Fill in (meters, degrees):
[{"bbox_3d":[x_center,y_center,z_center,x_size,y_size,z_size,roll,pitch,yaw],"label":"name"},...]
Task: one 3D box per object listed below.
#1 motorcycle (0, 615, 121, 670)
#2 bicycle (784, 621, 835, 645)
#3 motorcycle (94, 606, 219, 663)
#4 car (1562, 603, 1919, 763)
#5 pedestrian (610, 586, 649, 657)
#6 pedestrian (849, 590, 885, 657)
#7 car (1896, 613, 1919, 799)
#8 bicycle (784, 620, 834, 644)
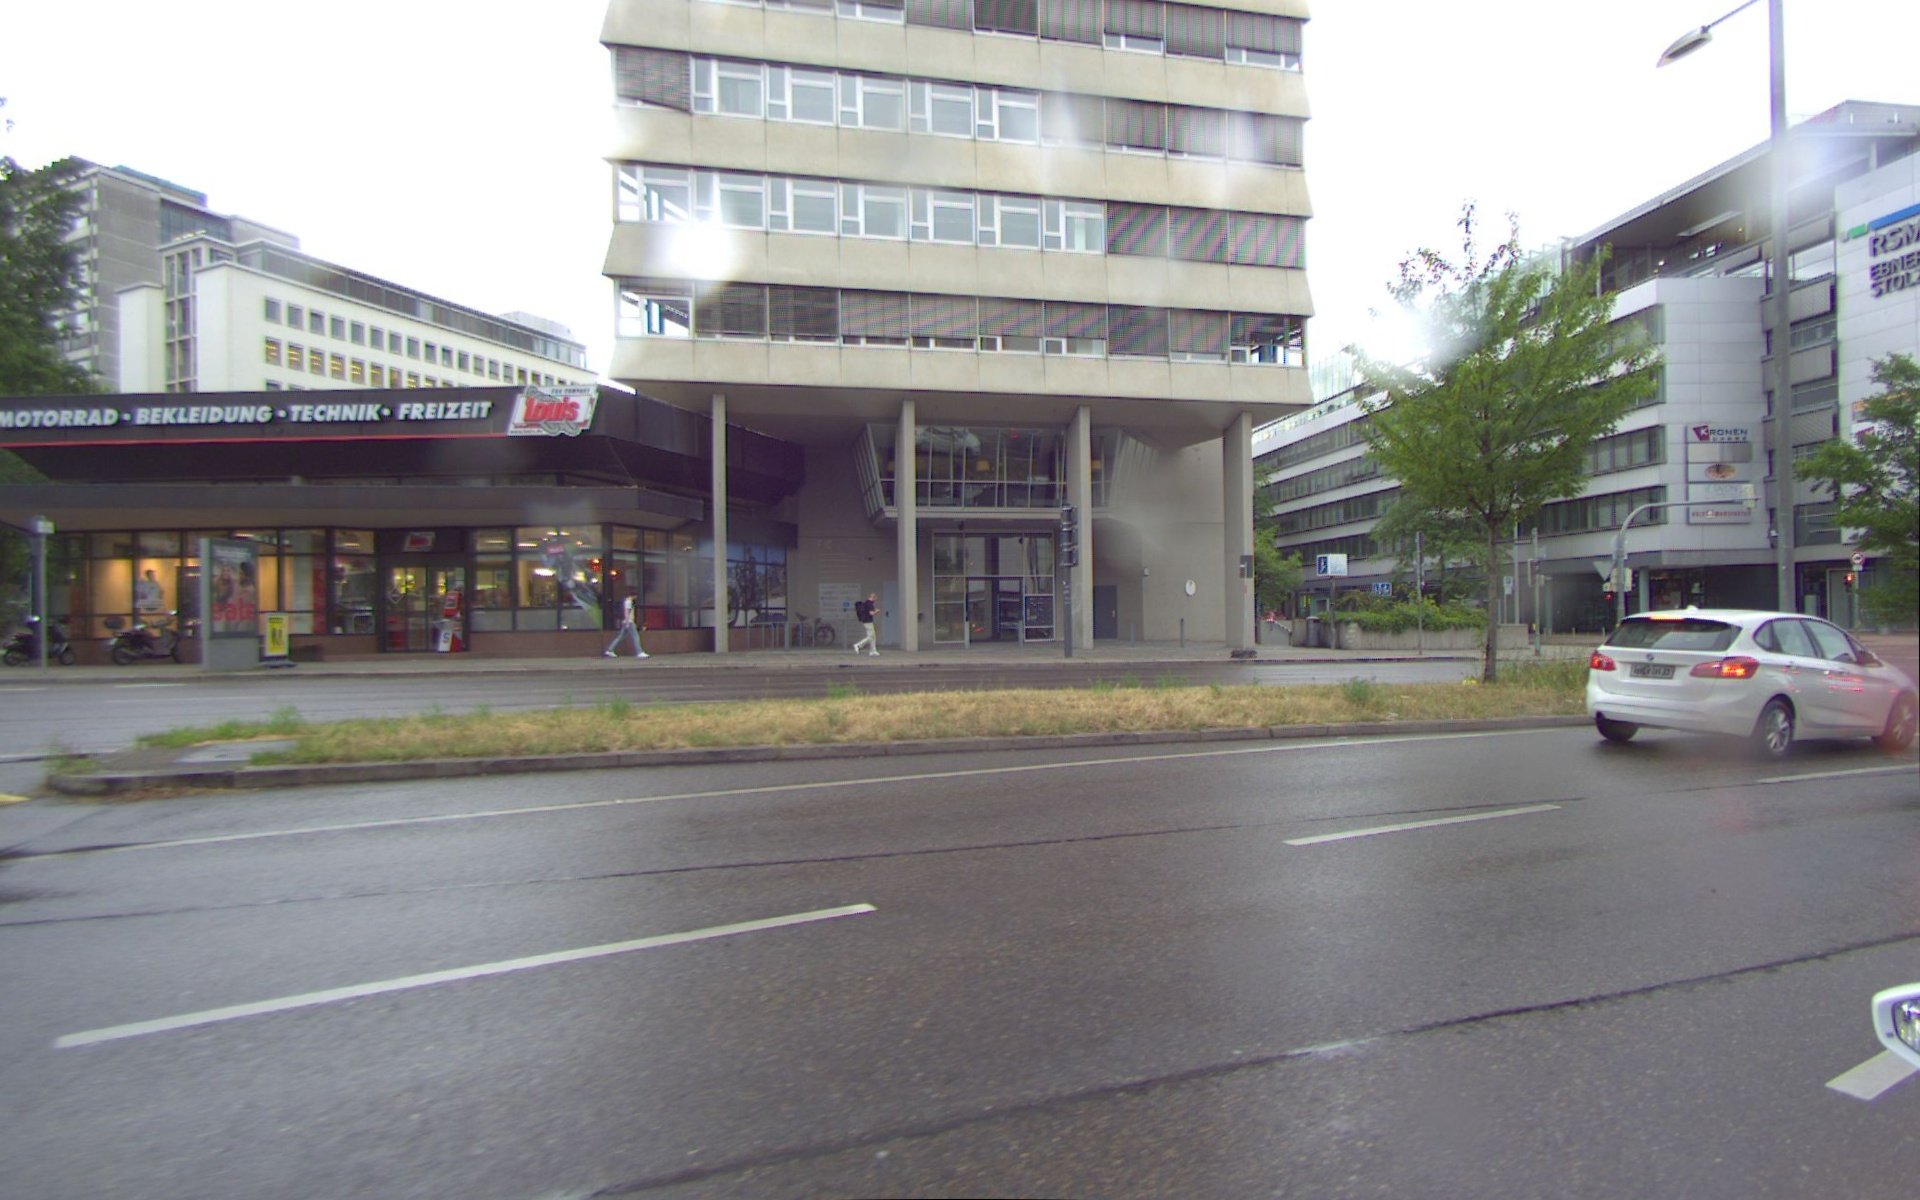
[{"bbox_3d":[-23.926,1.077,26.692,0.709,1.351,2.822,1,0,5],"label":"motorcycle"},{"bbox_3d":[-5.289,1.153,35.313,1.742,0.823,0.454,1,0,-11],"label":"bicycle"},{"bbox_3d":[-20.991,0.863,26.359,0.788,1.392,2.894,1,0,4],"label":"motorcycle"},{"bbox_3d":[9.259,0.862,11.734,4.229,1.594,1.778,1,-1,-25],"label":"car"},{"bbox_3d":[-8.807,0.581,26.781,0.909,1.857,0.818,0,0,-13],"label":"pedestrian"},{"bbox_3d":[-2.632,0.660,28.294,0.909,1.857,0.728,1,-1,-13],"label":"pedestrian"},{"bbox_3d":[9.940,0.869,8.257,4.134,1.505,1.679,1,-1,-21],"label":"car"},{"bbox_3d":[-5.392,1.155,35.895,1.742,0.823,0.454,1,0,-11],"label":"bicycle"}]
